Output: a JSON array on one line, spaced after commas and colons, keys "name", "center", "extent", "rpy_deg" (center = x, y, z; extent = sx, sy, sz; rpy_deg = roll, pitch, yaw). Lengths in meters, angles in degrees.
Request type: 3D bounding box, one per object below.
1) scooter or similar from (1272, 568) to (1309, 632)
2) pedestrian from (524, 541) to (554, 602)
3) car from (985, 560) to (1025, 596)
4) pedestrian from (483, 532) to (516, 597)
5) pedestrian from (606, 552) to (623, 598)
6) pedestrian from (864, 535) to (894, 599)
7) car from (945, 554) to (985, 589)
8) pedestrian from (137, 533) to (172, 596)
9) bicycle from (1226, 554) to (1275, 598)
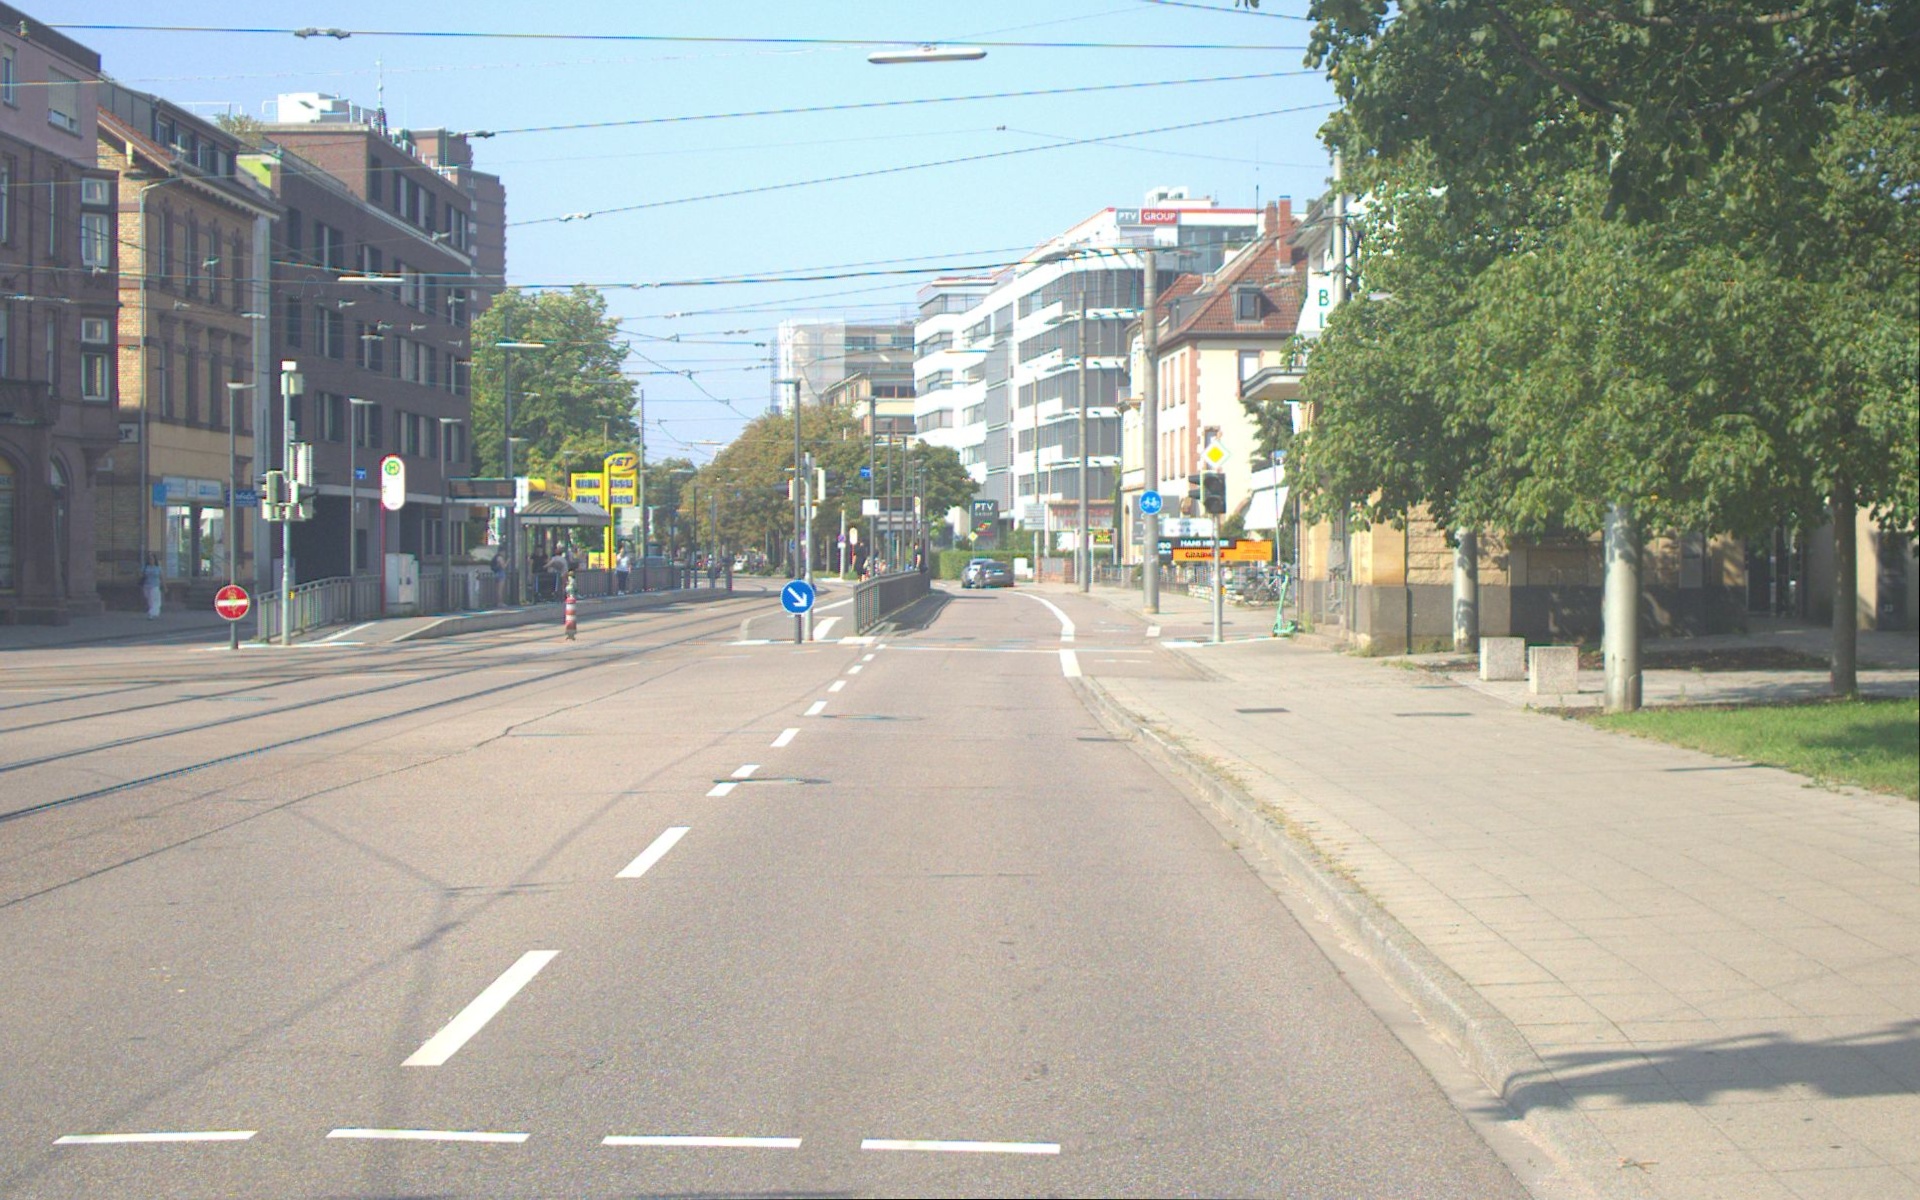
[{"name": "scooter or similar", "center": [5.951, -0.009, 61.880], "extent": [0.523, 1.129, 1.511], "rpy_deg": [-2, 0, 1]}, {"name": "pedestrian", "center": [-12.187, -0.829, 99.448], "extent": [0.708, 1.741, 0.799], "rpy_deg": [-2, 0, 1]}, {"name": "car", "center": [2.431, -1.193, 183.460], "extent": [2.011, 1.852, 4.000], "rpy_deg": [-2, 0, 2]}, {"name": "pedestrian", "center": [-12.359, -0.955, 92.206], "extent": [0.708, 1.717, 0.799], "rpy_deg": [-2, 0, 1]}, {"name": "pedestrian", "center": [-11.760, -0.845, 116.971], "extent": [0.532, 1.525, 0.702], "rpy_deg": [-2, 0, -5]}, {"name": "pedestrian", "center": [-2.176, -0.876, 92.353], "extent": [0.720, 1.697, 0.884], "rpy_deg": [-2, 0, 2]}, {"name": "car", "center": [0.292, -1.556, 189.604], "extent": [2.011, 1.852, 4.000], "rpy_deg": [-2, 0, 2]}, {"name": "pedestrian", "center": [-20.174, -0.887, 86.138], "extent": [0.483, 1.555, 0.886], "rpy_deg": [1, -1, 12]}, {"name": "bicycle", "center": [7.894, -0.650, 93.505], "extent": [0.731, 1.129, 2.840], "rpy_deg": [-3, 1, -6]}]
